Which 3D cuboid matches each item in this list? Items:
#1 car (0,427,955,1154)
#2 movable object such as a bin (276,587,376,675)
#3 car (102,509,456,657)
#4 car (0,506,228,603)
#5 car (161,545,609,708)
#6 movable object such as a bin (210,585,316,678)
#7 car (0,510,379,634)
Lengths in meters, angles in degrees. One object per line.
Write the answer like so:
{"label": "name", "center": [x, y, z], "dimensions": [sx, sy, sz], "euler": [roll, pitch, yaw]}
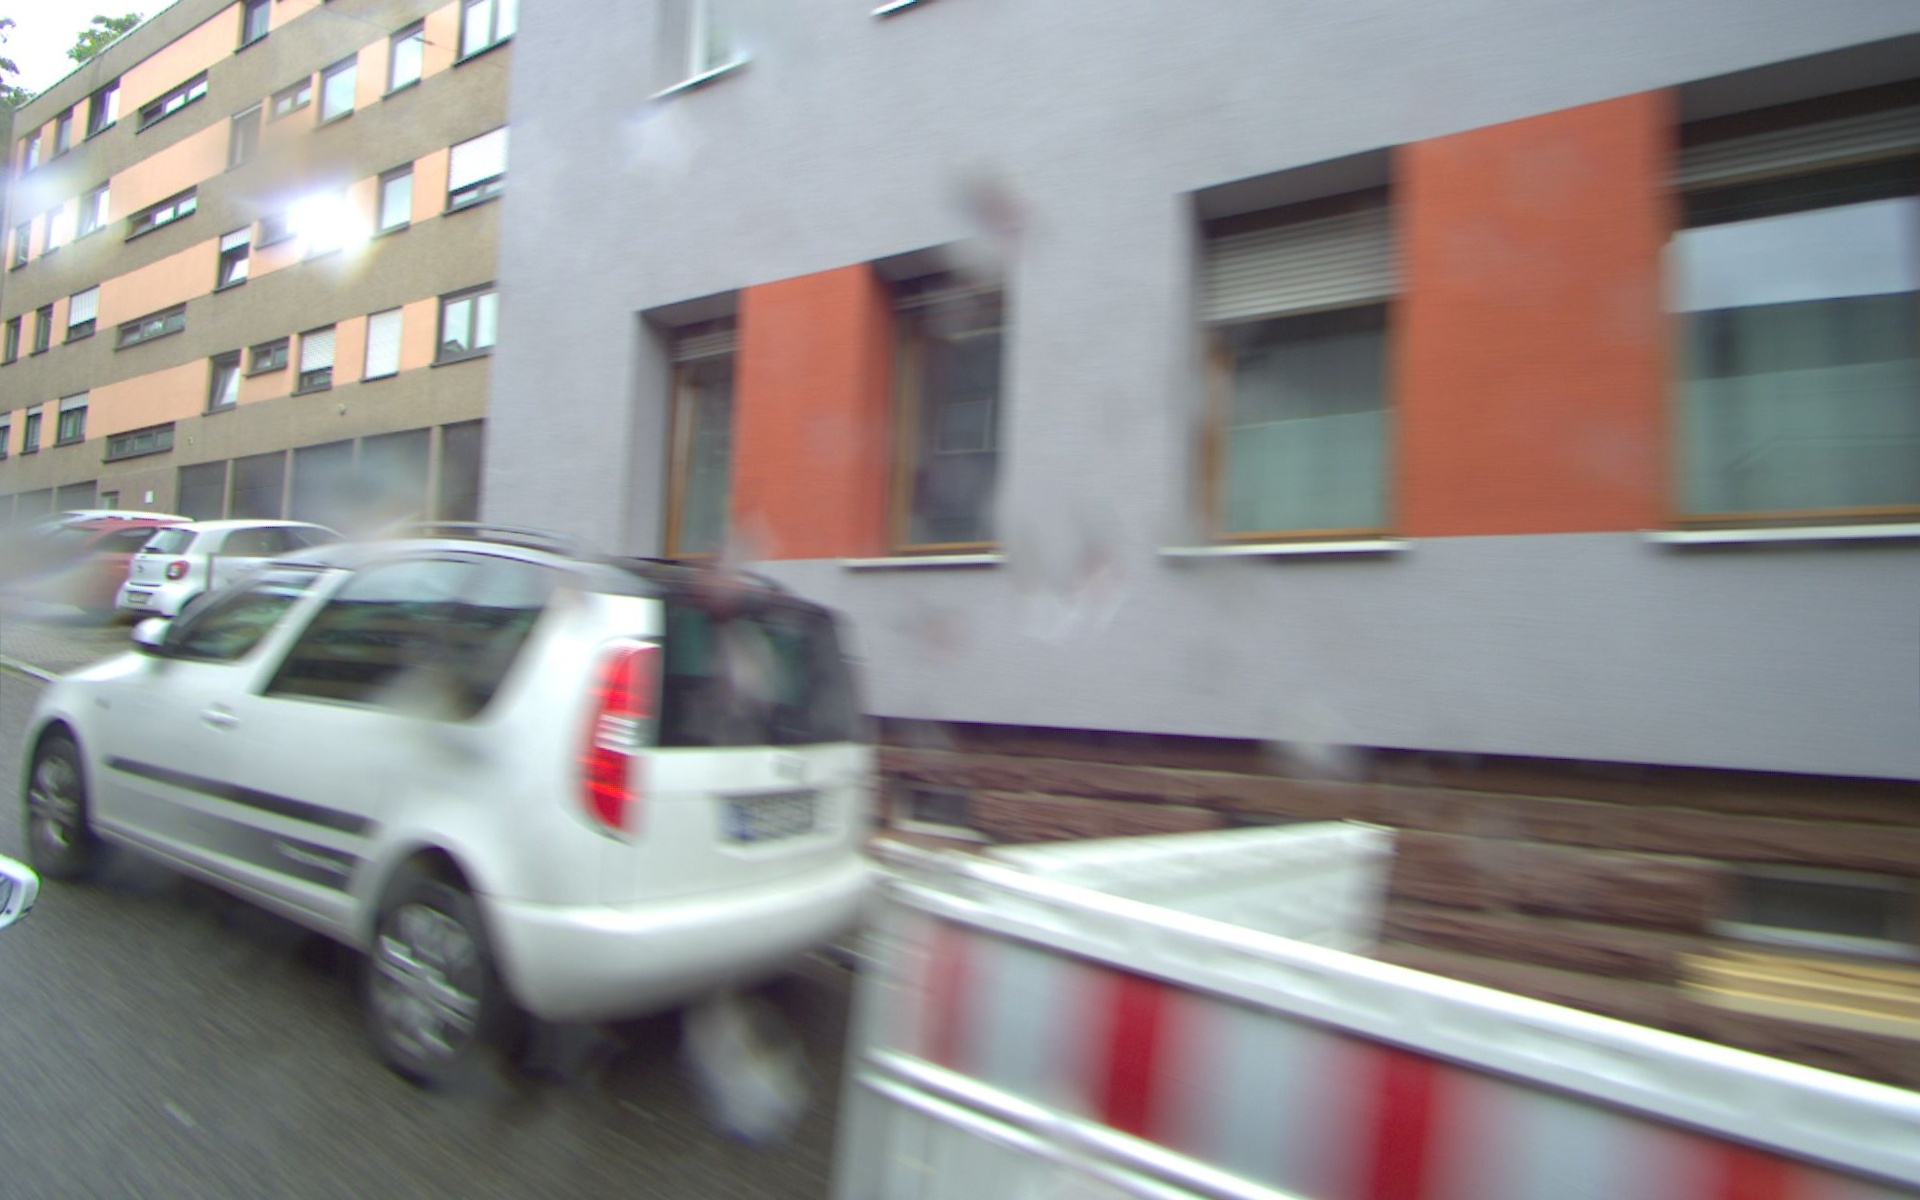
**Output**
{"label": "car", "center": [-2.228, 0.407, 4.263], "dimensions": [3.932, 1.782, 1.645], "euler": [7, -3, 30]}
{"label": "movable object such as a bin", "center": [-8.257, 0.409, 13.112], "dimensions": [0.759, 1.032, 0.724], "euler": [4, -4, 30]}
{"label": "car", "center": [-9.512, -0.266, 14.358], "dimensions": [1.699, 1.726, 3.825], "euler": [7, 4, 29]}
{"label": "car", "center": [-15.727, -0.800, 17.960], "dimensions": [1.663, 1.551, 3.963], "euler": [6, 3, 27]}
{"label": "car", "center": [-6.679, 0.431, 12.233], "dimensions": [1.861, 1.483, 4.278], "euler": [7, -2, 29]}
{"label": "movable object such as a bin", "center": [-8.600, 0.397, 12.421], "dimensions": [0.759, 1.032, 0.724], "euler": [4, -4, 30]}
{"label": "car", "center": [-11.726, -0.464, 15.630], "dimensions": [1.845, 1.552, 4.338], "euler": [7, 5, 30]}
